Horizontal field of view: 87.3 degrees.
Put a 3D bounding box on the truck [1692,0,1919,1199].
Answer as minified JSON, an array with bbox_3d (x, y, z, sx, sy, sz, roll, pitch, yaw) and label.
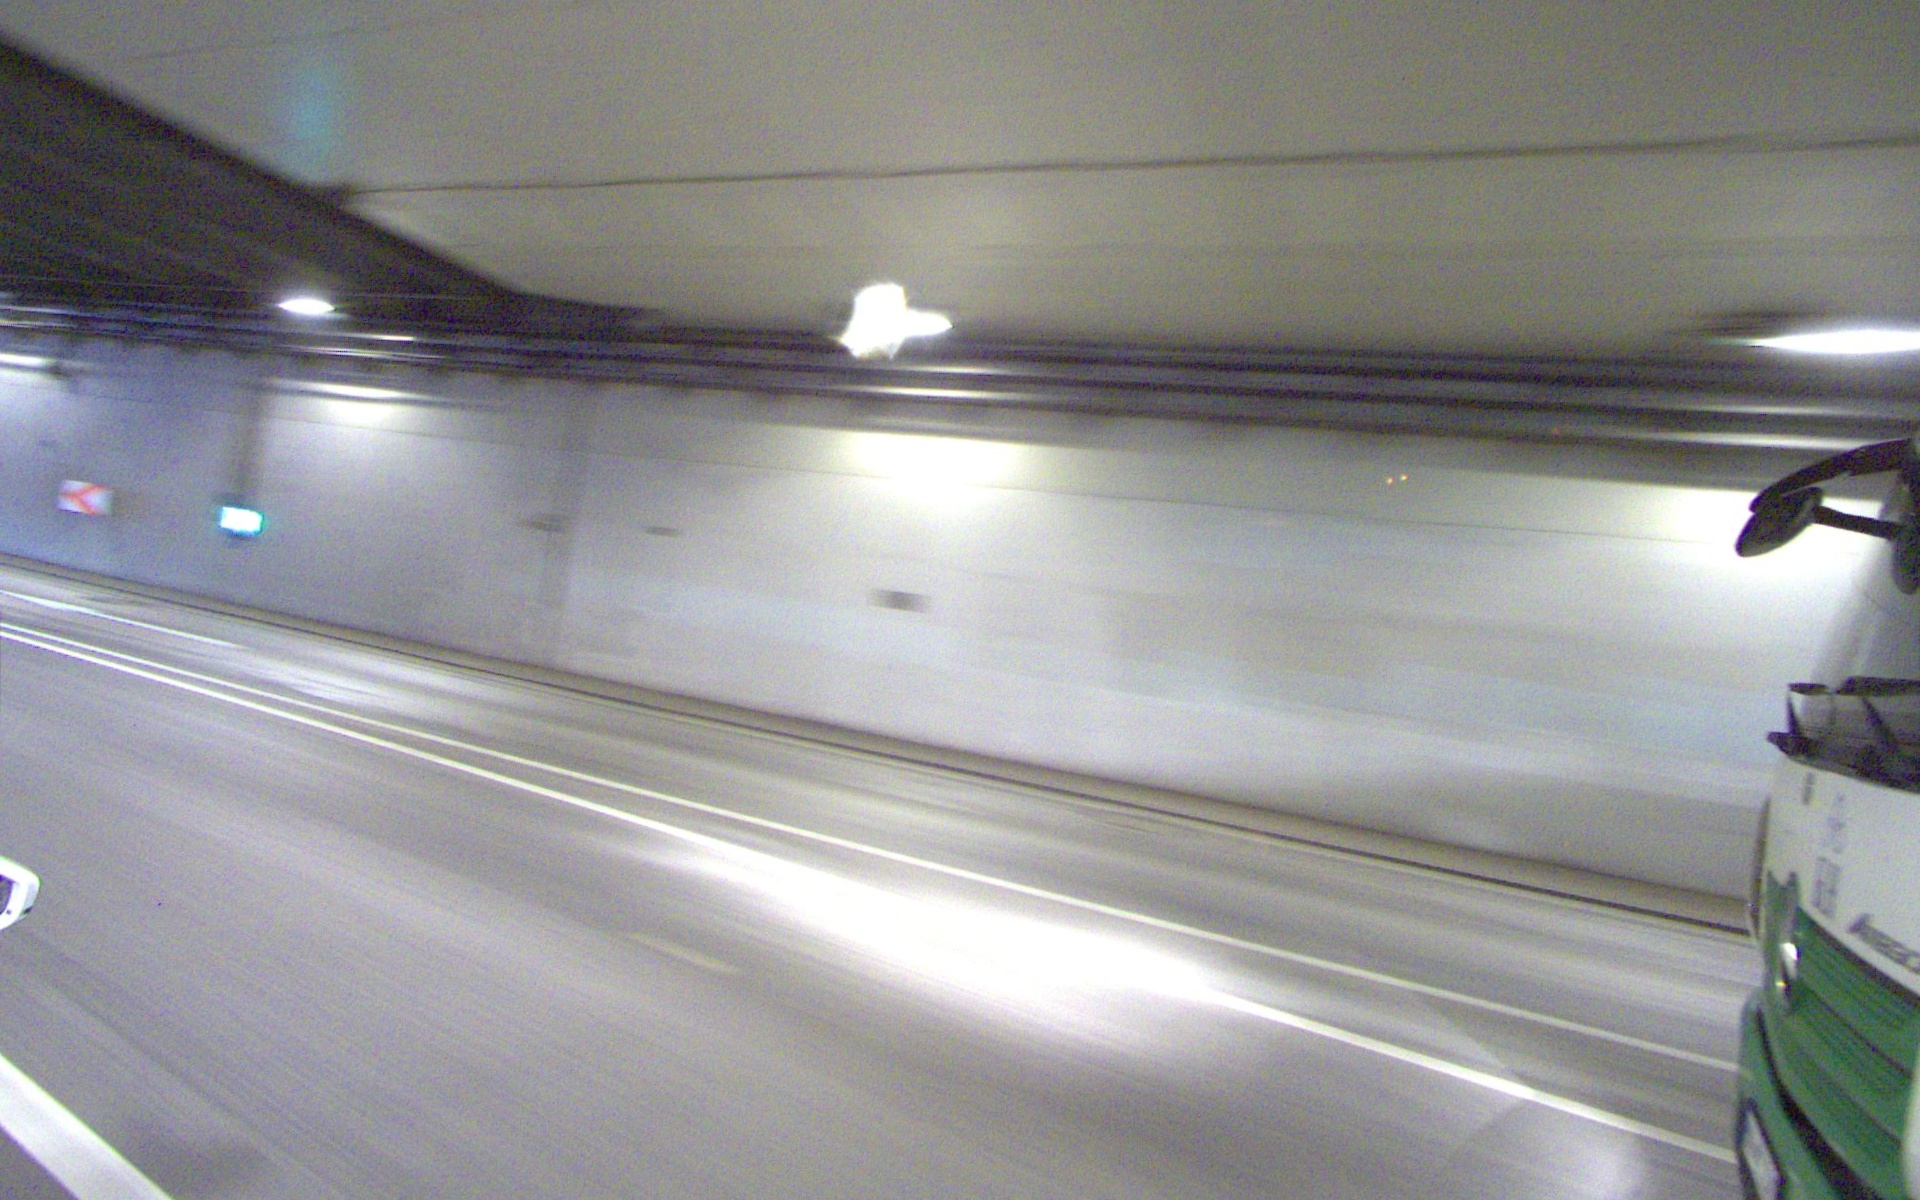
[{"bbox_3d":[4.915,0.511,0.363,7.129,3.218,2.557,6,-2,34],"label":"truck"}]
